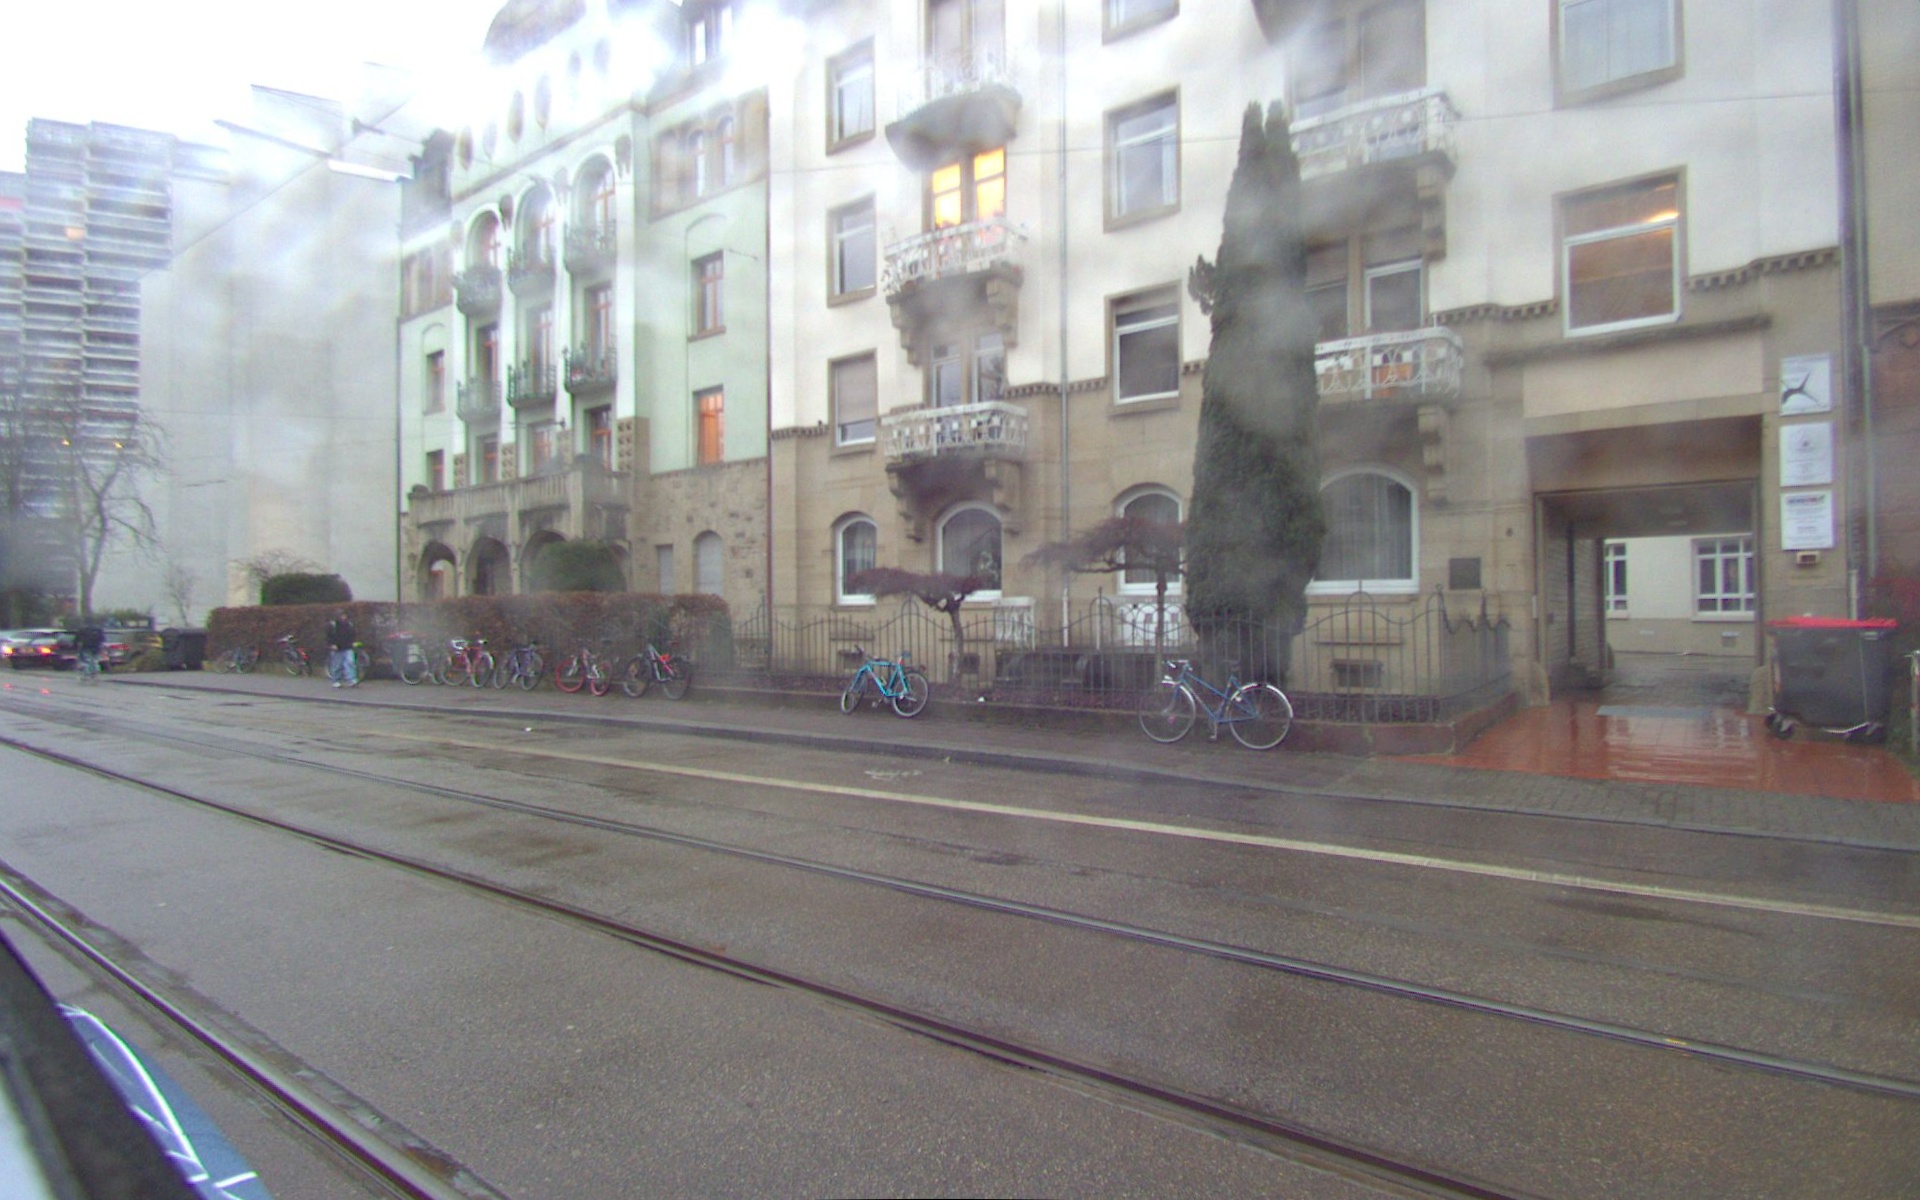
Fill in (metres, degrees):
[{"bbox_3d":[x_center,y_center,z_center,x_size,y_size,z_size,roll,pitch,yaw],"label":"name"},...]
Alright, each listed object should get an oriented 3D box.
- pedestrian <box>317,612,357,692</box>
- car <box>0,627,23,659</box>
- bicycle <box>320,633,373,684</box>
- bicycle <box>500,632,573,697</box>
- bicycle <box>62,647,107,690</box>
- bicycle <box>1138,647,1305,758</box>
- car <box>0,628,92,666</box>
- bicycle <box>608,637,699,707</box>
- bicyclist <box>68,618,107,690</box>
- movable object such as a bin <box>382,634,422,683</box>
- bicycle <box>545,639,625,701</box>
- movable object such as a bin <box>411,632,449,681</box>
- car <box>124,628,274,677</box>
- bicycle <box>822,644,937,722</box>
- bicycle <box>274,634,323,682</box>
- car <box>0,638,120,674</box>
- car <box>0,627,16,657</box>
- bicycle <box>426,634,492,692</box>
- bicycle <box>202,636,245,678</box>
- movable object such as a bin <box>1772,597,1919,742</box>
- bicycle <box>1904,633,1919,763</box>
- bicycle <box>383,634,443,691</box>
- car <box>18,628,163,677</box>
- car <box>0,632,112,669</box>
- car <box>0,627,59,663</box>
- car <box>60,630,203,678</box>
[{"bbox_3d":[-13.955,1.151,22.669,0.644,1.738,0.567,0,1,41],"label":"pedestrian"},{"bbox_3d":[-49.962,2.221,50.979,1.843,1.608,3.999,-1,-1,0],"label":"car"},{"bbox_3d":[-15.156,1.430,25.004,1.661,1.221,0.617,-2,-2,40],"label":"bicycle"},{"bbox_3d":[-8.279,1.233,19.749,1.661,1.221,0.617,-2,-2,40],"label":"bicycle"},{"bbox_3d":[-23.602,1.835,27.271,1.946,1.101,0.617,-2,-2,40],"label":"bicycle"},{"bbox_3d":[2.840,1.074,11.077,1.661,1.101,0.617,-2,-2,40],"label":"bicycle"},{"bbox_3d":[-42.256,2.119,46.202,1.843,1.608,3.999,-1,-1,0],"label":"car"},{"bbox_3d":[-5.289,1.204,17.398,1.781,1.134,0.617,-2,-2,40],"label":"bicycle"},{"bbox_3d":[-23.377,1.429,27.111,0.990,1.891,0.617,-2,-2,40],"label":"bicyclist"},{"bbox_3d":[-13.572,1.414,24.616,0.674,1.173,0.651,-2,-2,40],"label":"movable object such as a bin"},{"bbox_3d":[-6.931,1.268,18.675,1.725,1.073,0.617,-2,-2,40],"label":"bicycle"},{"bbox_3d":[-13.169,1.393,25.143,0.674,1.173,0.617,-2,-2,40],"label":"movable object such as a bin"},{"bbox_3d":[-26.008,1.764,34.777,1.847,1.505,3.989,-1,-1,8],"label":"car"},{"bbox_3d":[-1.154,1.136,14.258,1.661,1.010,0.617,-2,-2,40],"label":"bicycle"},{"bbox_3d":[-17.271,1.494,26.420,1.661,1.221,0.617,-2,-2,40],"label":"bicycle"},{"bbox_3d":[-33.441,2.040,37.464,1.687,1.262,3.666,0,-2,-1],"label":"car"},{"bbox_3d":[-52.283,2.267,53.081,1.843,1.608,3.999,-1,-1,0],"label":"car"},{"bbox_3d":[-10.554,1.308,21.300,1.661,1.173,0.617,-2,-2,40],"label":"bicycle"},{"bbox_3d":[-21.461,1.656,29.468,1.661,1.173,0.617,-2,-1,40],"label":"bicycle"},{"bbox_3d":[9.403,0.695,10.757,1.166,1.390,1.092,-2,1,39],"label":"movable object such as a bin"},{"bbox_3d":[8.693,0.901,8.650,0.694,1.114,2.326,-2,1,38],"label":"bicycle"},{"bbox_3d":[-12.216,1.370,22.592,1.661,1.221,0.617,-2,-2,40],"label":"bicycle"},{"bbox_3d":[-31.371,1.847,36.695,1.843,1.608,3.999,-1,-1,0],"label":"car"},{"bbox_3d":[-39.048,2.141,43.495,1.843,1.460,3.999,-1,-1,0],"label":"car"},{"bbox_3d":[-44.736,2.094,47.235,1.843,1.608,3.999,-1,-1,0],"label":"car"},{"bbox_3d":[-28.711,1.837,35.230,1.740,1.497,3.999,-1,-1,0],"label":"car"}]
